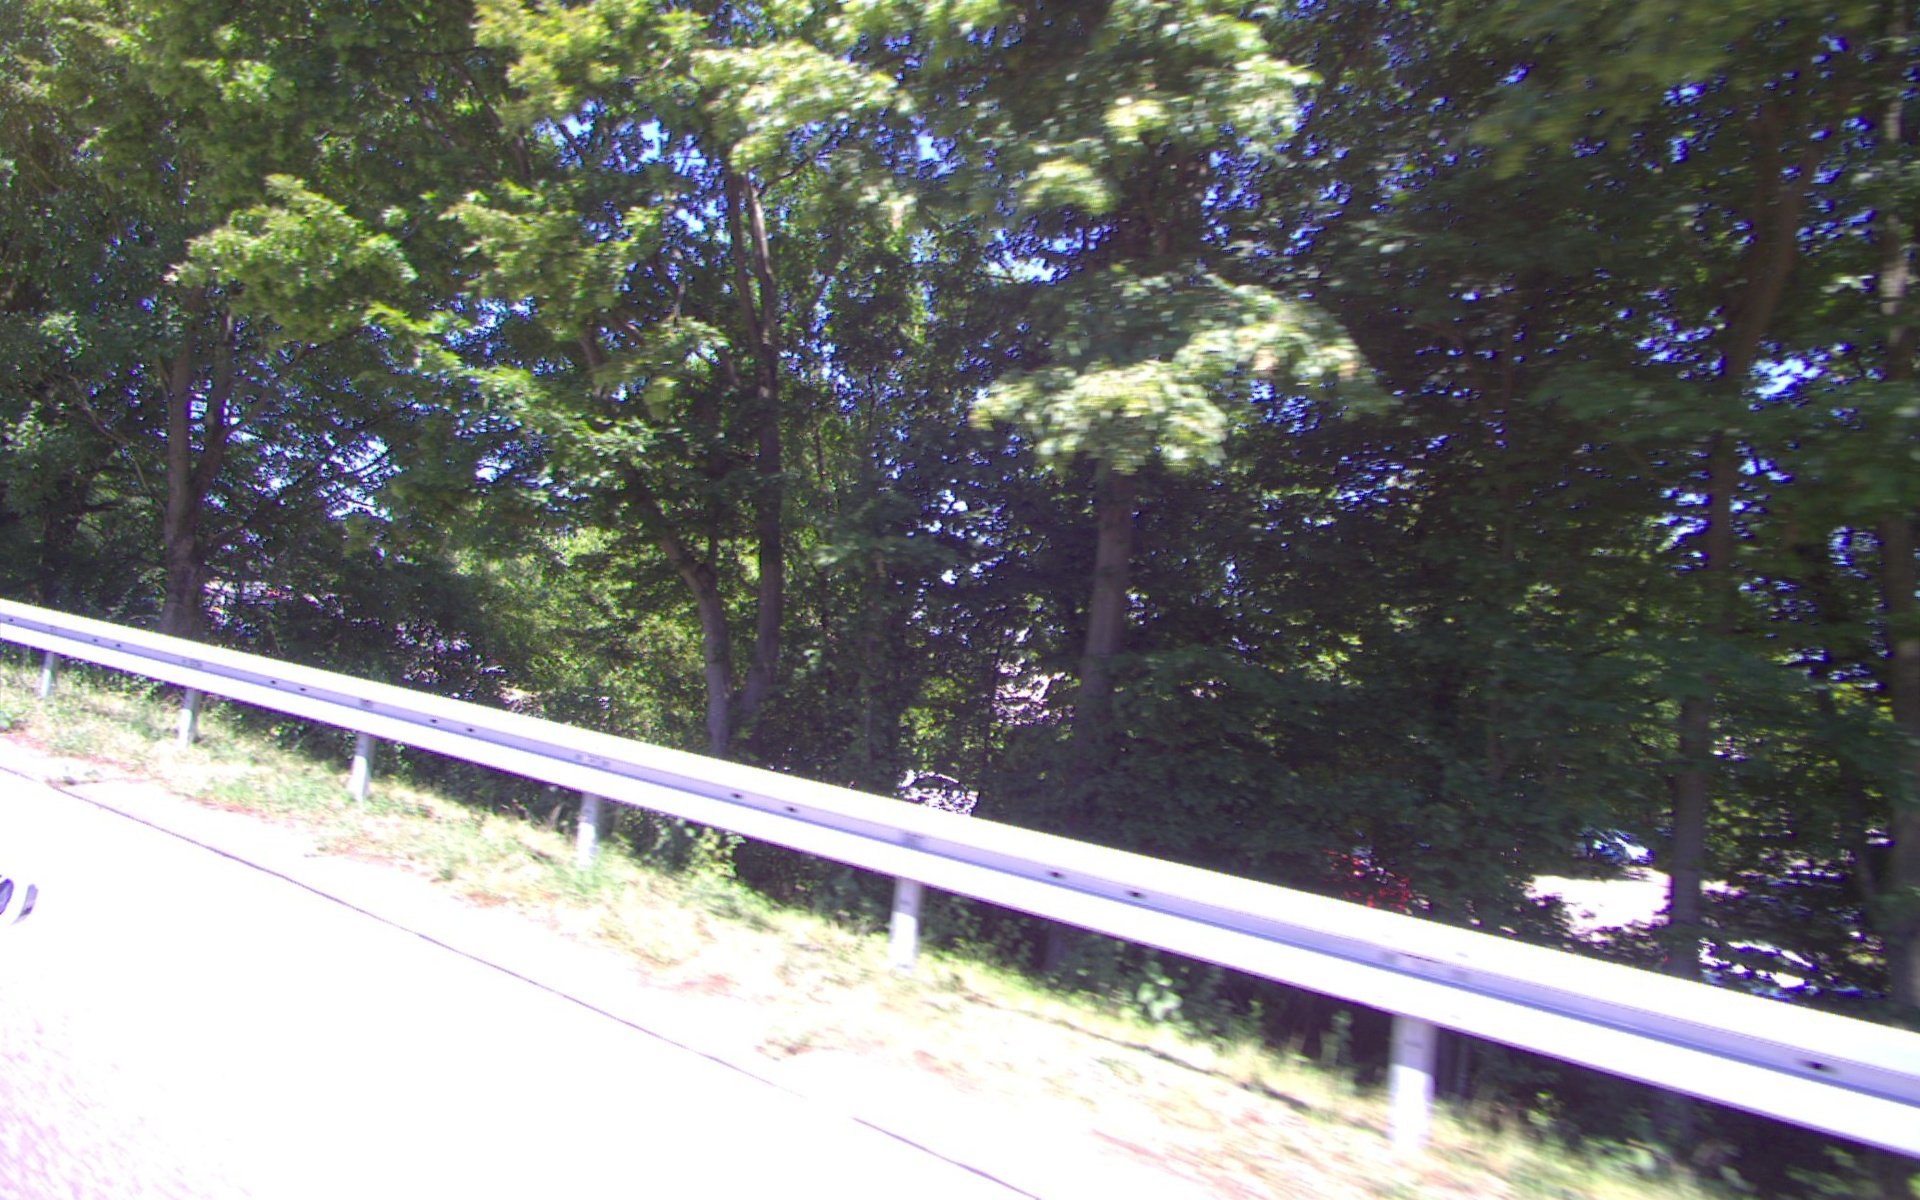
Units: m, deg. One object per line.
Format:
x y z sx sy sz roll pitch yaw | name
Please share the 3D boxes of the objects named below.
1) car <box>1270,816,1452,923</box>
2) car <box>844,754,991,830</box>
9.965 6.690 24.972 3.958 2.035 1.987 10 -3 -29 | car
-1.283 5.979 31.245 3.972 1.868 1.980 11 -4 -38 | car
